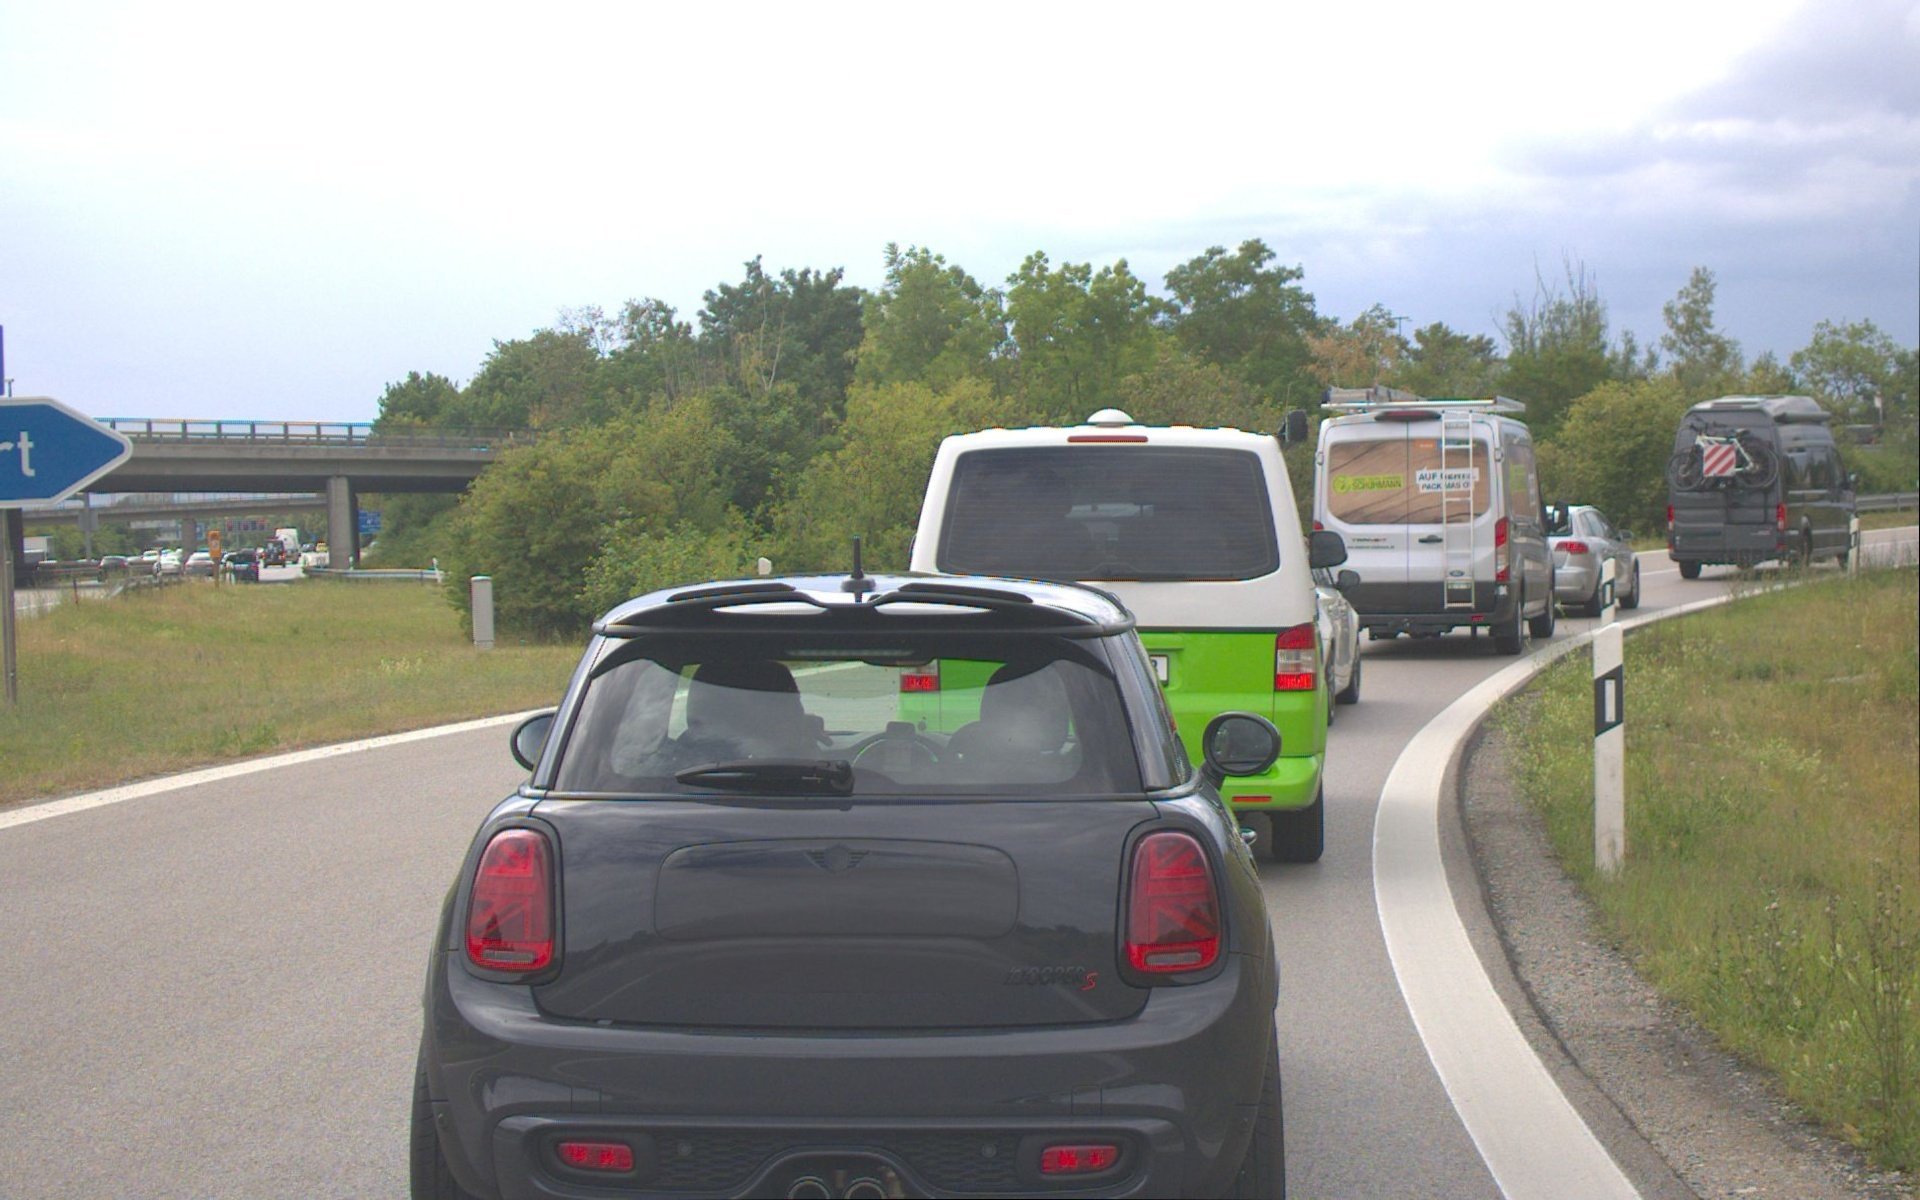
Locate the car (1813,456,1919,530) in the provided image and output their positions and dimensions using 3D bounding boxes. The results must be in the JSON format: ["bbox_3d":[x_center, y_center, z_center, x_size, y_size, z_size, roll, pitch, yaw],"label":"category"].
[{"bbox_3d":[20.703,-2.379,76.949,1.799,1.550,3.953,0,0,36],"label":"car"}]

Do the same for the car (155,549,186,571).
[{"bbox_3d":[-51.736,-2.650,225.356,1.779,1.394,4.307,-1,1,-10],"label":"car"}]

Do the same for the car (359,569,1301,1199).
[{"bbox_3d":[-0.179,0.648,8.161,1.727,1.409,3.725,0,1,2],"label":"car"}]

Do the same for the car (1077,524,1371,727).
[{"bbox_3d":[2.042,0.147,25.675,1.763,1.394,3.723,-1,1,11],"label":"car"}]

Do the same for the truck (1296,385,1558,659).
[{"bbox_3d":[5.004,-0.842,36.192,2.180,2.649,5.106,-1,2,14],"label":"truck"}]

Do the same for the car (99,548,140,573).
[{"bbox_3d":[-47.067,-2.218,192.623,1.779,1.394,4.307,-1,1,-8],"label":"car"}]

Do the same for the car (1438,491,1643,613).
[{"bbox_3d":[7.607,-0.634,44.777,1.868,1.504,3.996,0,1,21],"label":"car"}]

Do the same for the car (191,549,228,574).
[{"bbox_3d":[-43.880,-2.273,200.989,1.779,1.394,4.552,-1,1,-8],"label":"car"}]

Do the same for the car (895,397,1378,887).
[{"bbox_3d":[0.958,0.129,16.203,1.785,2.007,3.998,0,1,10],"label":"car"}]

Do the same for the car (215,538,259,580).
[{"bbox_3d":[-34.774,-1.962,165.413,1.993,2.007,4.001,1,0,-11],"label":"car"}]

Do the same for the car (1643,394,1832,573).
[{"bbox_3d":[12.622,-1.868,55.666,2.108,2.786,3.995,1,2,26],"label":"car"}]
